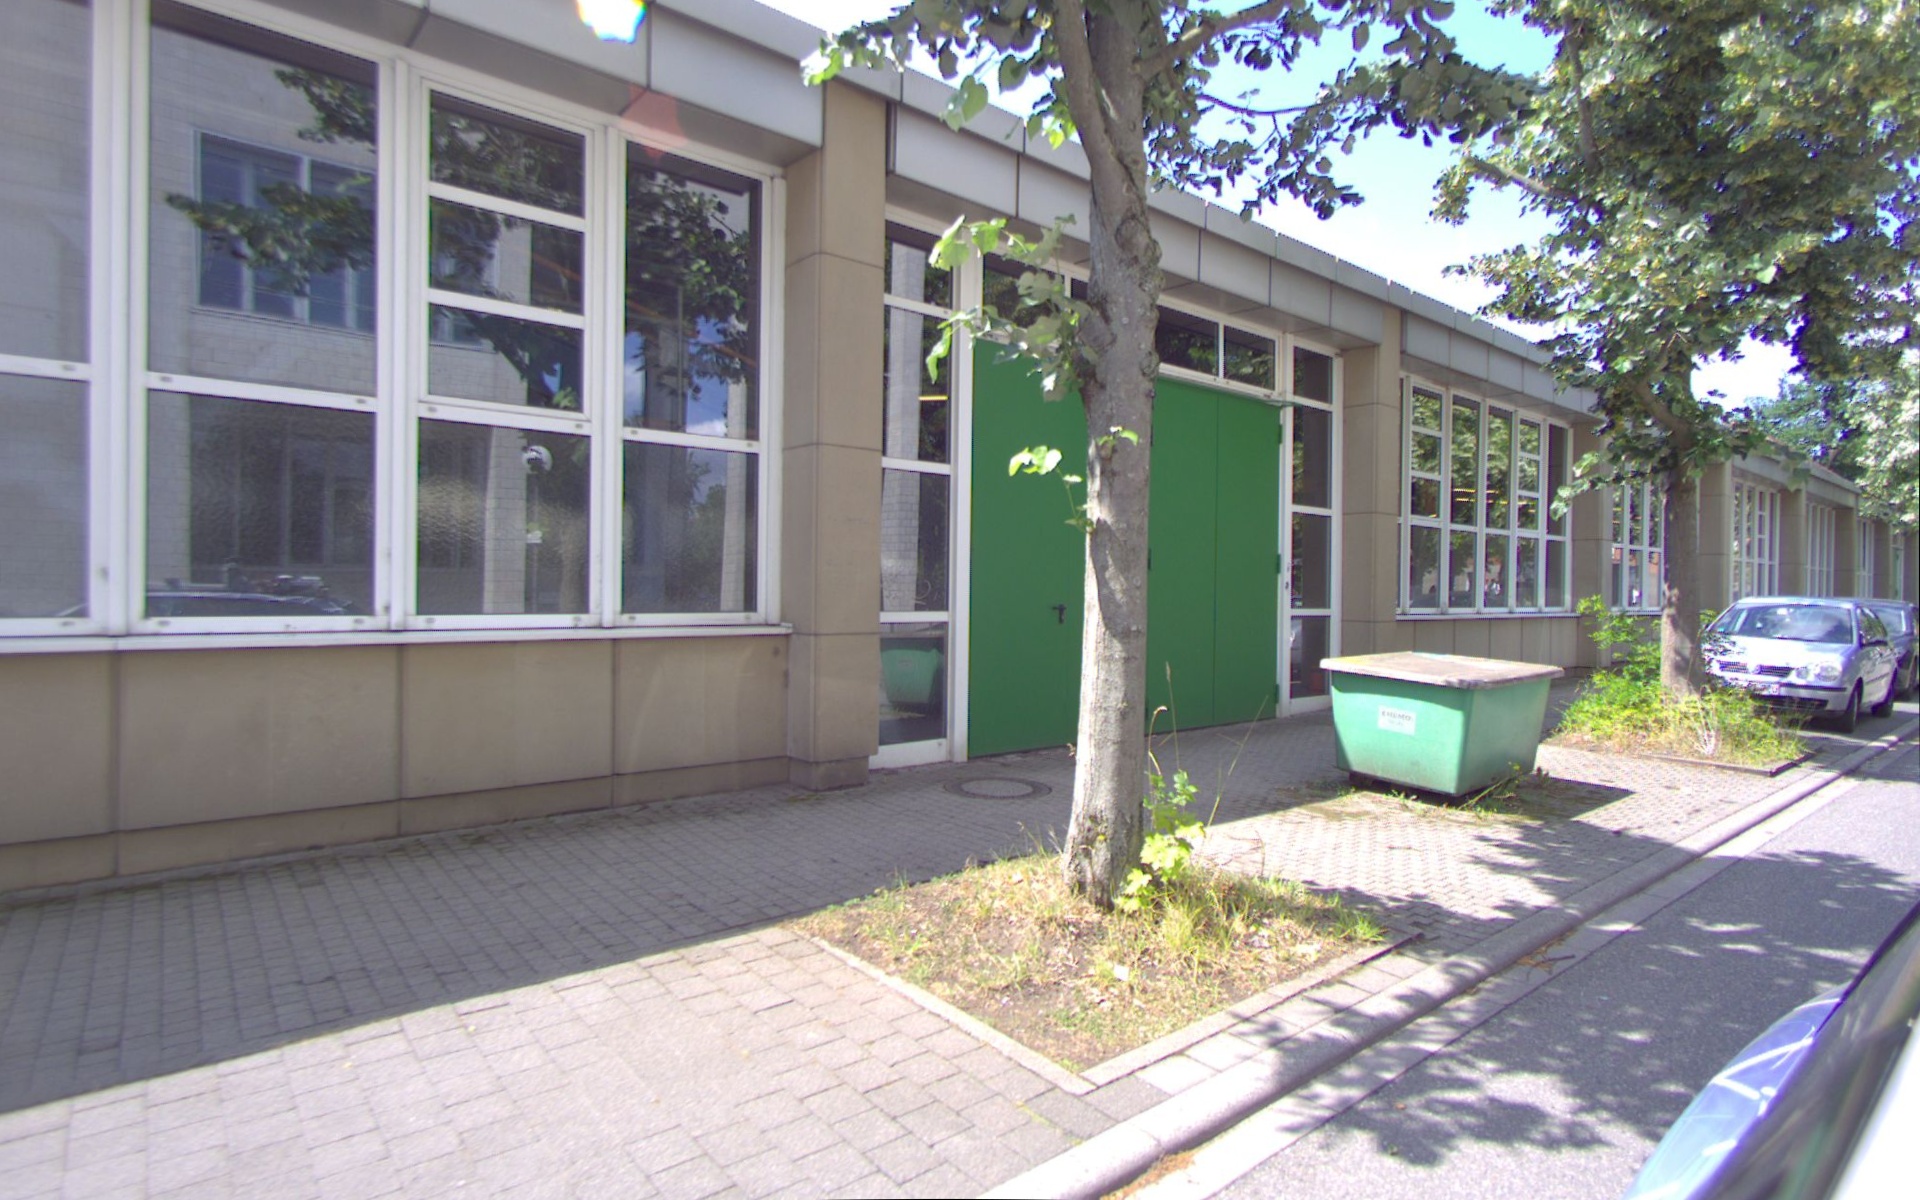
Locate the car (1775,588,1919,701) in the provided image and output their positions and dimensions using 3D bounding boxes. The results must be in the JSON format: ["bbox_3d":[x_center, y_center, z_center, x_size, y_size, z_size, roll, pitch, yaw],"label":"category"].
[{"bbox_3d":[14.269,0.603,15.864,3.751,1.481,1.621,0,3,-41],"label":"car"}]

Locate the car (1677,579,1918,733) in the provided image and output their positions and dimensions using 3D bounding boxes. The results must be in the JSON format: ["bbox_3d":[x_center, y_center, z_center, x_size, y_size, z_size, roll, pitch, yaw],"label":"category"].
[{"bbox_3d":[10.328,0.565,12.392,3.751,1.530,1.621,0,3,-41],"label":"car"}]
